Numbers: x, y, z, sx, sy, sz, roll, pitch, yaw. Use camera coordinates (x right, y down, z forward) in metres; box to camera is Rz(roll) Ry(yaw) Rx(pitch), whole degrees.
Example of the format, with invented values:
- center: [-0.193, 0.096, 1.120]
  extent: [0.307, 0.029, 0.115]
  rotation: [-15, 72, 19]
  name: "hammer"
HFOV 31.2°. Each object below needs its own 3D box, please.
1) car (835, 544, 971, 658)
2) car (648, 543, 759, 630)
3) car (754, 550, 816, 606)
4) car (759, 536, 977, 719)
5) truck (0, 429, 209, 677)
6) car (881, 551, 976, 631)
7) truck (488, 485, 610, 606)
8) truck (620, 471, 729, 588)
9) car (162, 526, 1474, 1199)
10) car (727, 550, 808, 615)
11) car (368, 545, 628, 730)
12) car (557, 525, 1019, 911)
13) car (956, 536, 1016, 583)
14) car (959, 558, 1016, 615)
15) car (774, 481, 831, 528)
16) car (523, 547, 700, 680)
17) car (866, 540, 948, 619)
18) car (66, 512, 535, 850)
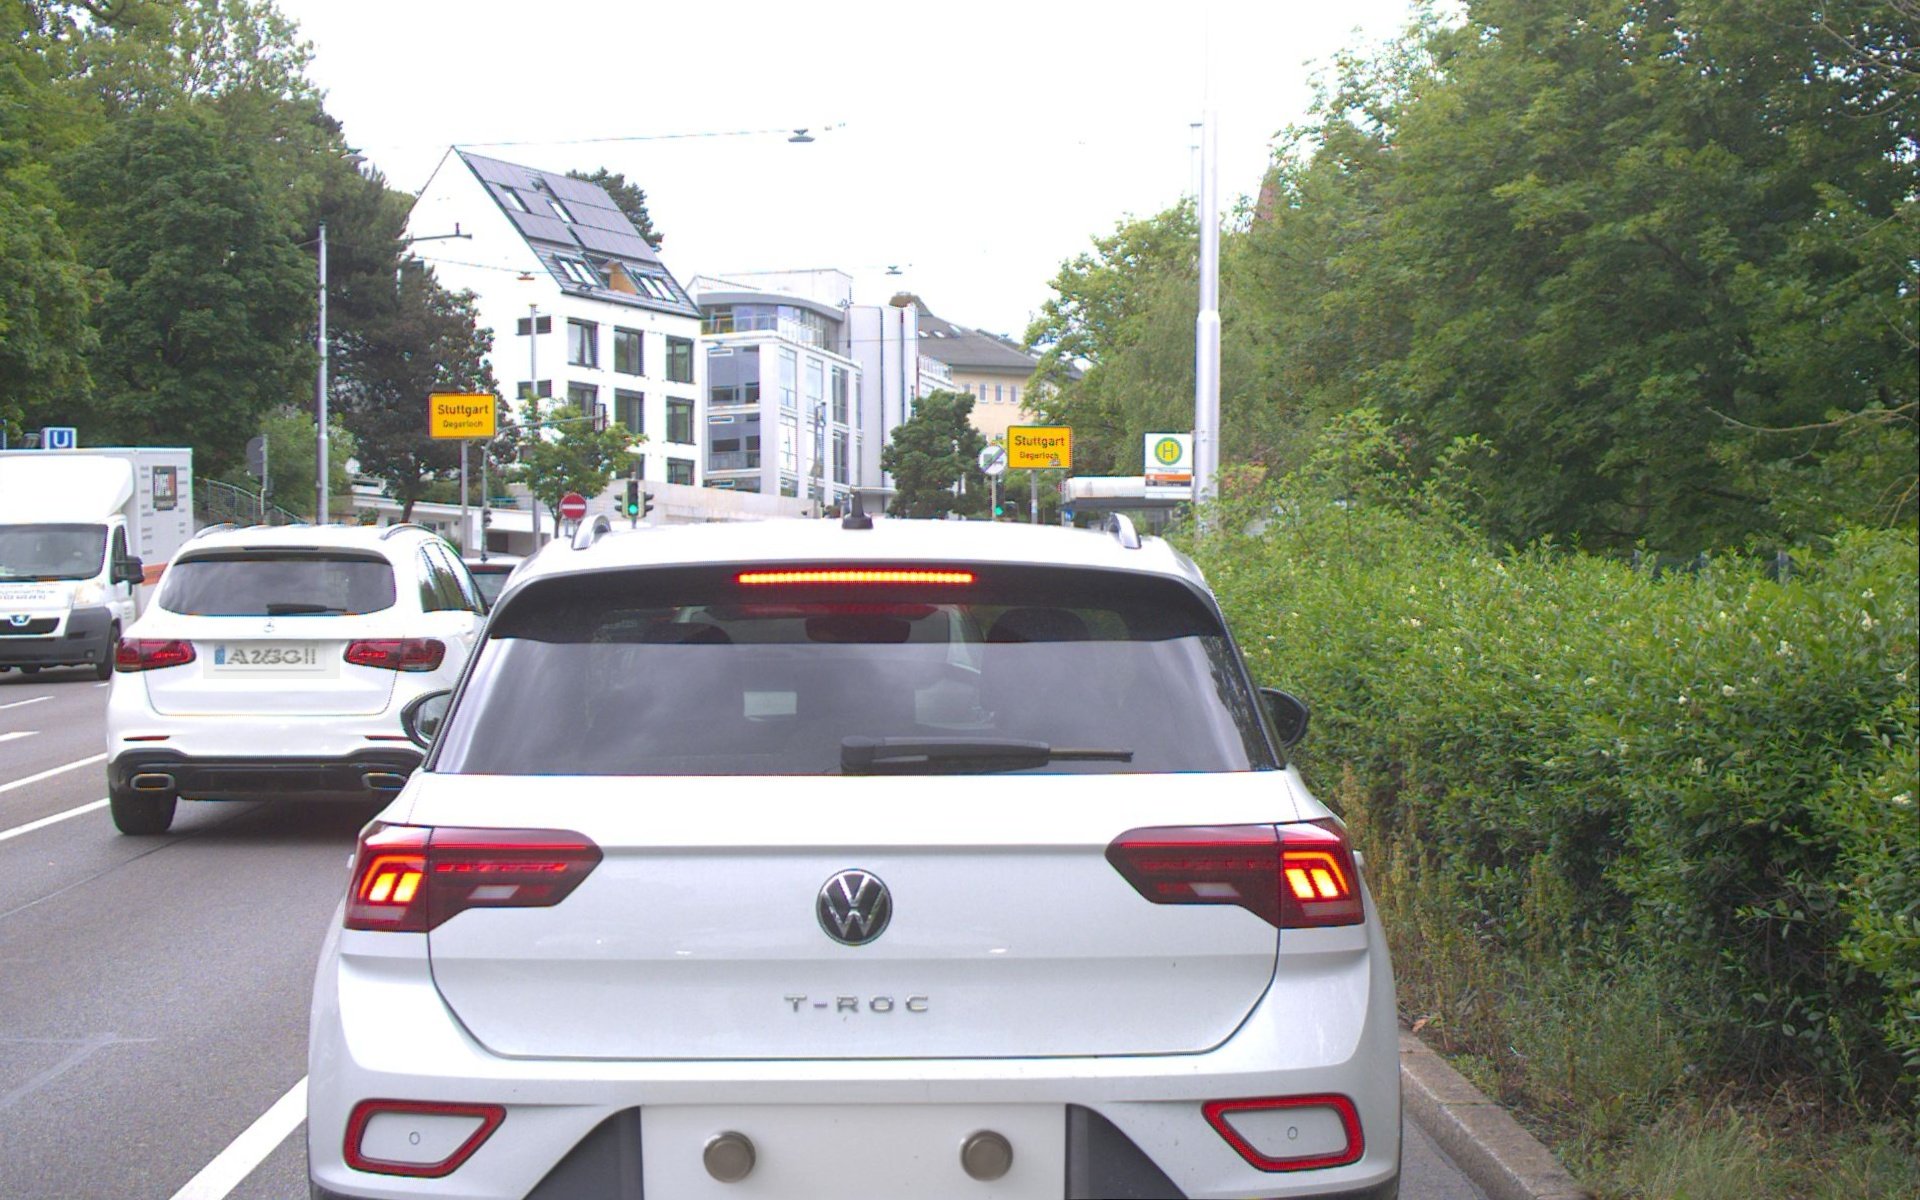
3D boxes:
- center: [-0.827, -0.017, 48.823]
  extent: [1.829, 1.520, 4.000]
  rotation: [-1, 1, -1]
  name: "car"
- center: [-4.718, -0.276, 63.597]
  extent: [1.829, 1.520, 4.000]
  rotation: [-1, 1, -1]
  name: "car"
- center: [-5.532, -0.715, 109.074]
  extent: [1.815, 1.651, 3.929]
  rotation: [-2, 1, -1]
  name: "car"
- center: [-0.831, 0.200, 31.200]
  extent: [1.829, 1.520, 4.000]
  rotation: [-1, 1, -1]
  name: "car"
- center: [-11.825, -0.604, 45.959]
  extent: [2.293, 3.040, 6.980]
  rotation: [-1, 1, -3]
  name: "truck"
- center: [-0.666, -0.207, 69.351]
  extent: [1.829, 1.520, 4.000]
  rotation: [-1, 1, -1]
  name: "car"
- center: [-9.609, -1.291, 80.771]
  extent: [2.362, 2.697, 4.478]
  rotation: [-2, 1, -1]
  name: "truck"
- center: [-7.051, -1.744, 85.330]
  extent: [2.362, 2.772, 4.478]
  rotation: [-2, 1, -1]
  name: "truck"
- center: [-0.243, 0.631, 6.817]
  extent: [1.829, 1.520, 4.000]
  rotation: [0, 1, -1]
  name: "car"
- center: [-4.684, -0.446, 84.205]
  extent: [1.829, 1.520, 4.000]
  rotation: [-1, 1, -1]
  name: "car"
- center: [-4.010, 0.276, 30.396]
  extent: [1.829, 1.492, 4.000]
  rotation: [-1, 1, -1]
  name: "car"
- center: [-0.742, 0.441, 15.829]
  extent: [1.829, 1.520, 4.000]
  rotation: [-1, 1, -1]
  name: "car"
- center: [0.849, -1.352, 114.728]
  extent: [1.829, 1.520, 4.000]
  rotation: [-1, 1, -1]
  name: "car"
- center: [0.997, -0.477, 126.541]
  extent: [1.993, 2.007, 4.000]
  rotation: [-1, 0, 0]
  name: "car"
- center: [-5.325, -3.239, 116.768]
  extent: [1.829, 1.520, 4.000]
  rotation: [-1, 1, -1]
  name: "car"
- center: [-4.197, 0.126, 41.908]
  extent: [1.829, 1.520, 4.000]
  rotation: [-1, 1, -1]
  name: "car"
- center: [-1.396, -0.547, 89.103]
  extent: [1.993, 1.963, 4.001]
  rotation: [-1, 1, -2]
  name: "car"
- center: [-3.519, 0.373, 19.064]
  extent: [1.918, 1.664, 4.000]
  rotation: [0, 1, -1]
  name: "car"
